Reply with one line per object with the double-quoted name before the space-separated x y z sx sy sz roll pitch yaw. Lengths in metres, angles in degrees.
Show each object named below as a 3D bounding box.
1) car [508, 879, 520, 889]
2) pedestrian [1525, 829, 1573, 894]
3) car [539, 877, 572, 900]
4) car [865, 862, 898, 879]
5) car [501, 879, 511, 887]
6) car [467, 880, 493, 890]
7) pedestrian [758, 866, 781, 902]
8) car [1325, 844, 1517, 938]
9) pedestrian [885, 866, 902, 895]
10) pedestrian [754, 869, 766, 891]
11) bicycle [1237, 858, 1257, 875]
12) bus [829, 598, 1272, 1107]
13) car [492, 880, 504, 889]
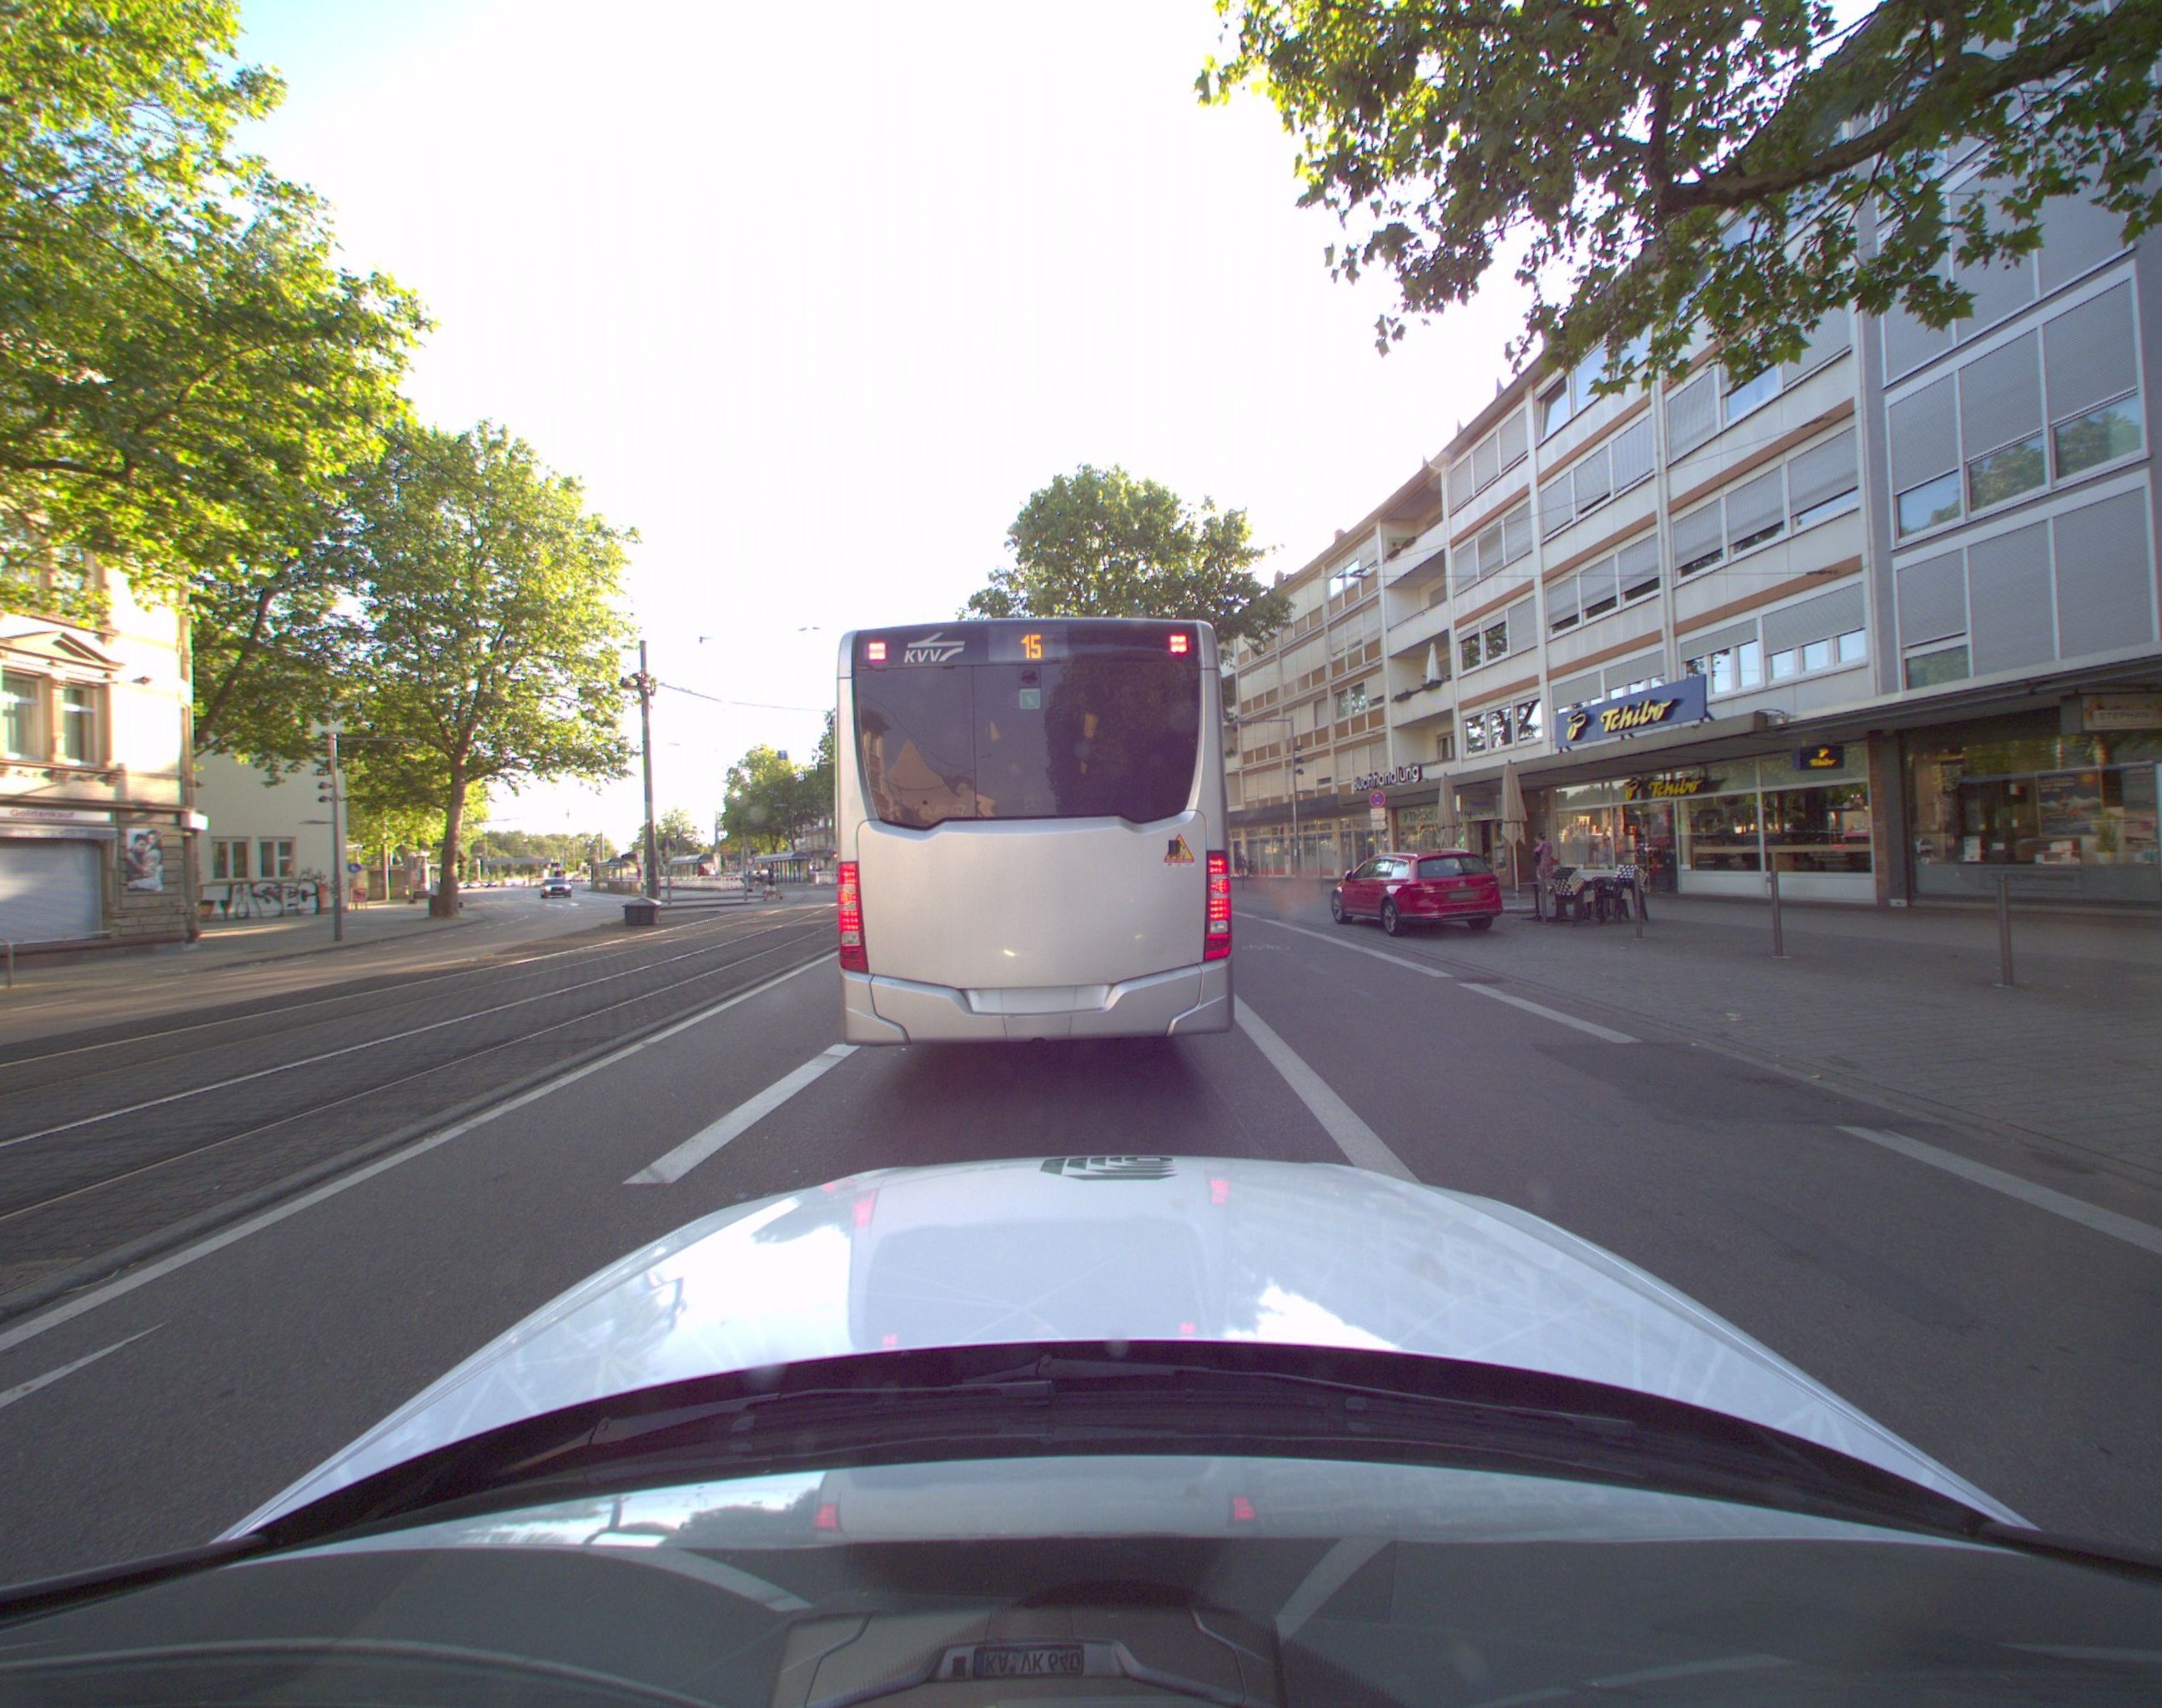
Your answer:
"car" -111.444 5.905 160.011 1.858 1.684 3.677 -4 1 -35
"pedestrian" 12.023 0.200 20.940 0.649 1.592 0.788 -4 -1 -4
"car" -40.054 2.611 62.067 2.008 1.640 3.958 -2 -1 -33
"car" -21.763 1.768 88.904 2.010 1.792 3.954 0 -1 -39
"car" -130.089 6.481 184.190 1.858 1.684 3.676 -2 -1 -35
"car" -122.664 6.332 166.135 1.768 1.640 4.024 -3 -1 44
"pedestrian" -15.775 1.516 41.194 0.893 1.728 0.518 -2 -1 3
"car" 6.370 0.635 15.847 1.765 1.482 4.300 -3 0 -2
"pedestrian" -9.650 1.364 41.954 0.767 1.450 0.636 0 -1 -8
"pedestrian" -24.530 2.013 62.215 0.661 1.656 0.438 -2 -1 -41
"bicycle" 9.290 0.713 45.589 0.413 0.945 1.431 -2 -1 -18
"bus" -0.169 0.013 9.916 2.622 3.028 9.995 -1 0 0
"car" -117.825 6.094 164.671 1.858 1.684 3.676 -2 -1 -35
